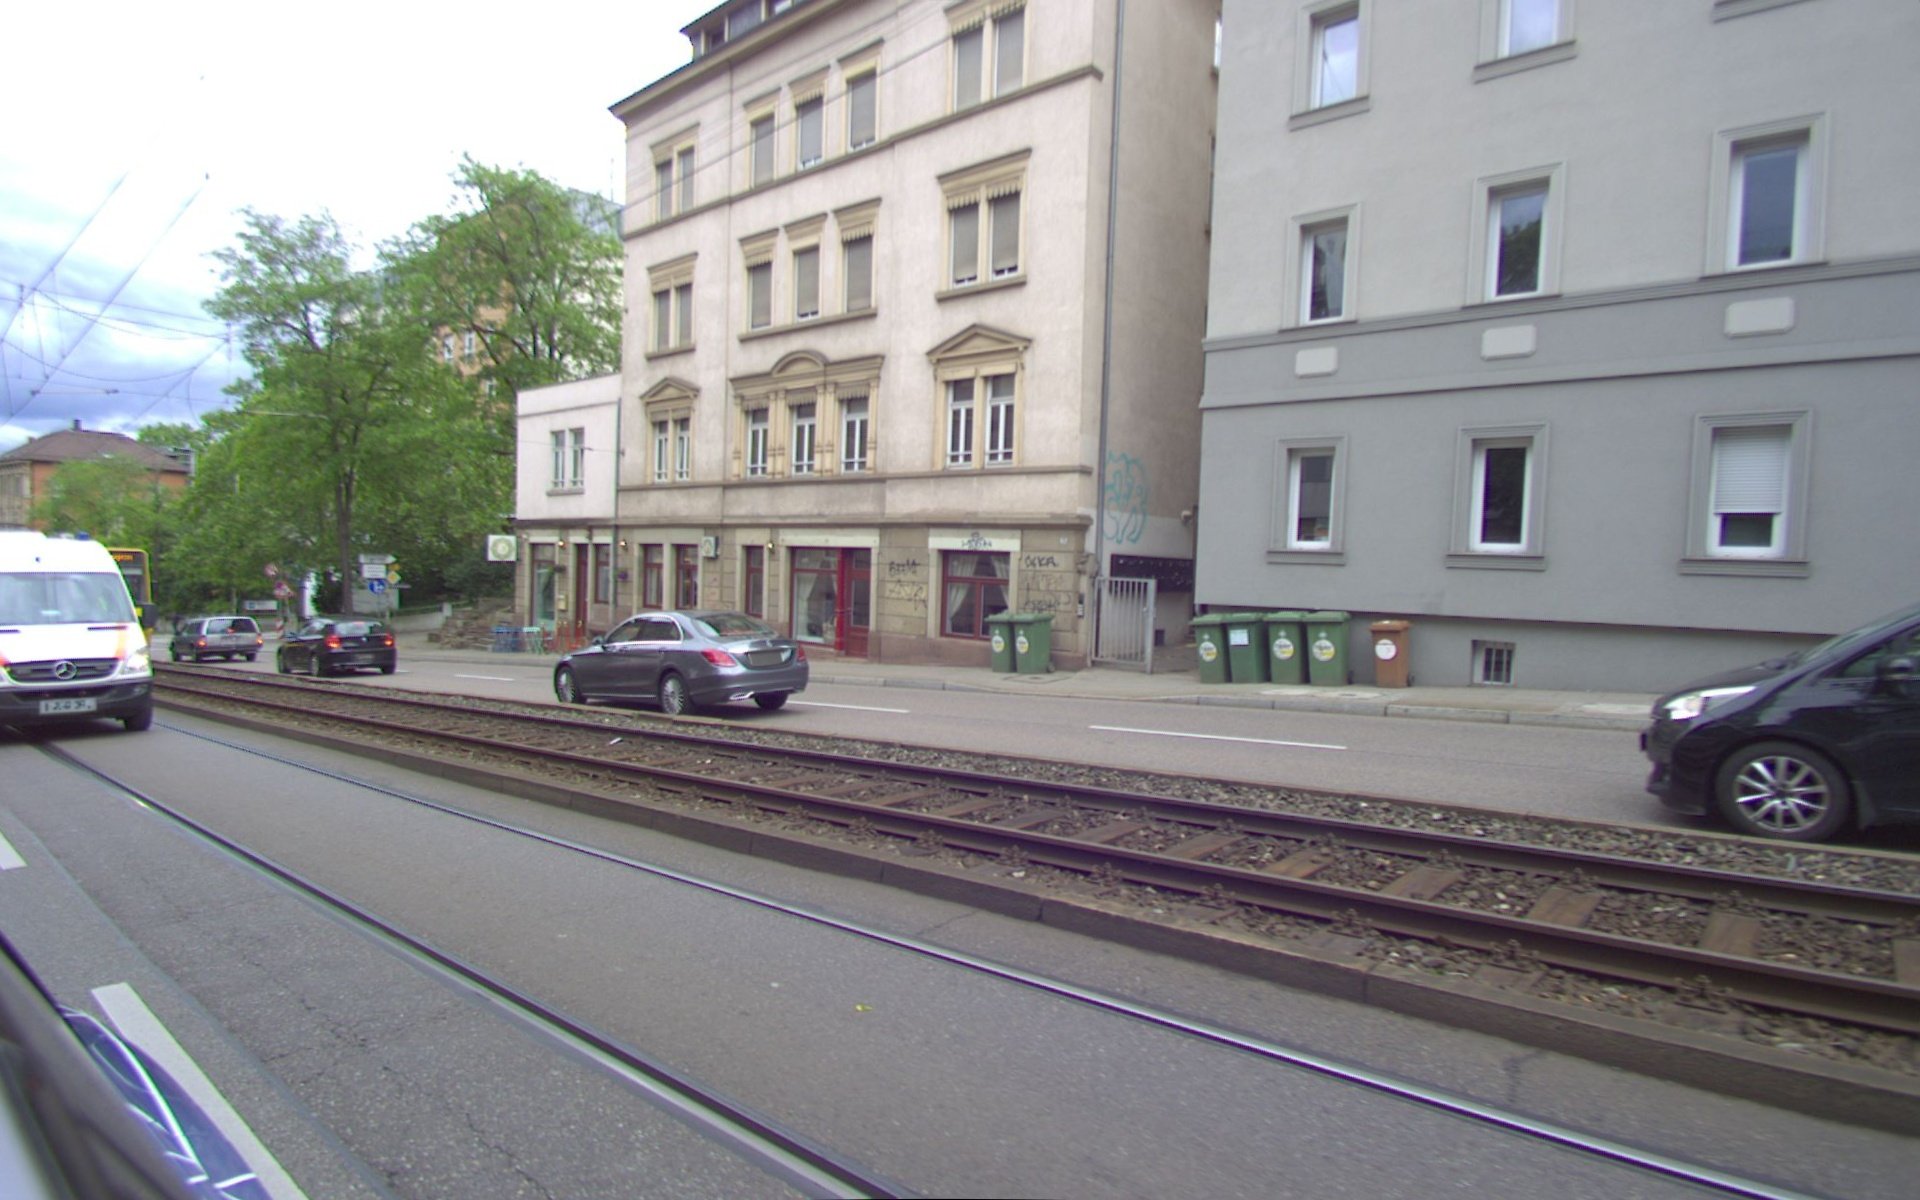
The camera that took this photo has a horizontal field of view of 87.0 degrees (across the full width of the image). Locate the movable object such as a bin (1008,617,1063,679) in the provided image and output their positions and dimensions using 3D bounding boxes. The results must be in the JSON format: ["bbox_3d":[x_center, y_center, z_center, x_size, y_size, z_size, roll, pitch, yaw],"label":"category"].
[{"bbox_3d":[1.361,0.849,18.141,0.681,1.082,0.710,-2,-1,41],"label":"movable object such as a bin"}]

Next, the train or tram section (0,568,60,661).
[{"bbox_3d":[-45.930,0.799,47.177,18.734,3.753,2.848,-2,1,39],"label":"train or tram section"}]

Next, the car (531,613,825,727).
[{"bbox_3d":[-4.223,0.915,14.677,4.762,1.371,1.793,-2,-1,41],"label":"car"}]

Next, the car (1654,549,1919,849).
[{"bbox_3d":[6.317,0.505,5.536,3.967,1.608,1.725,-2,-1,41],"label":"car"}]

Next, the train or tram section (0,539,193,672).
[{"bbox_3d":[-31.603,0.335,35.547,18.732,3.753,2.849,-2,1,39],"label":"train or tram section"}]

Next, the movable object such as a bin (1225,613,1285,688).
[{"bbox_3d":[4.489,0.753,15.374,0.606,1.082,0.735,-2,-1,41],"label":"movable object such as a bin"}]

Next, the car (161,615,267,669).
[{"bbox_3d":[-24.708,1.354,33.478,4.237,1.608,1.973,-2,-1,41],"label":"car"}]

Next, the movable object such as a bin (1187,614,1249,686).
[{"bbox_3d":[4.046,0.766,15.863,0.671,1.082,0.720,-2,-1,41],"label":"movable object such as a bin"}]

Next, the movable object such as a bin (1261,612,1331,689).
[{"bbox_3d":[4.986,0.737,15.010,0.697,1.082,0.816,-2,-1,41],"label":"movable object such as a bin"}]

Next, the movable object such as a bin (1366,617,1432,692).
[{"bbox_3d":[6.130,0.747,14.120,0.676,0.992,0.616,-2,-1,41],"label":"movable object such as a bin"}]

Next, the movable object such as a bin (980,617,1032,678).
[{"bbox_3d":[0.852,0.862,18.647,0.676,1.082,0.680,-2,-1,41],"label":"movable object such as a bin"}]

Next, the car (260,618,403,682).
[{"bbox_3d":[-15.282,1.159,24.521,4.160,1.374,1.811,-2,-1,41],"label":"car"}]

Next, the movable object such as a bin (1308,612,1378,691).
[{"bbox_3d":[5.515,0.724,14.557,0.676,1.082,0.816,-2,-1,41],"label":"movable object such as a bin"}]

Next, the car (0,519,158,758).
[{"bbox_3d":[-12.862,0.516,13.821,5.852,2.720,2.012,-2,-1,42],"label":"car"}]
